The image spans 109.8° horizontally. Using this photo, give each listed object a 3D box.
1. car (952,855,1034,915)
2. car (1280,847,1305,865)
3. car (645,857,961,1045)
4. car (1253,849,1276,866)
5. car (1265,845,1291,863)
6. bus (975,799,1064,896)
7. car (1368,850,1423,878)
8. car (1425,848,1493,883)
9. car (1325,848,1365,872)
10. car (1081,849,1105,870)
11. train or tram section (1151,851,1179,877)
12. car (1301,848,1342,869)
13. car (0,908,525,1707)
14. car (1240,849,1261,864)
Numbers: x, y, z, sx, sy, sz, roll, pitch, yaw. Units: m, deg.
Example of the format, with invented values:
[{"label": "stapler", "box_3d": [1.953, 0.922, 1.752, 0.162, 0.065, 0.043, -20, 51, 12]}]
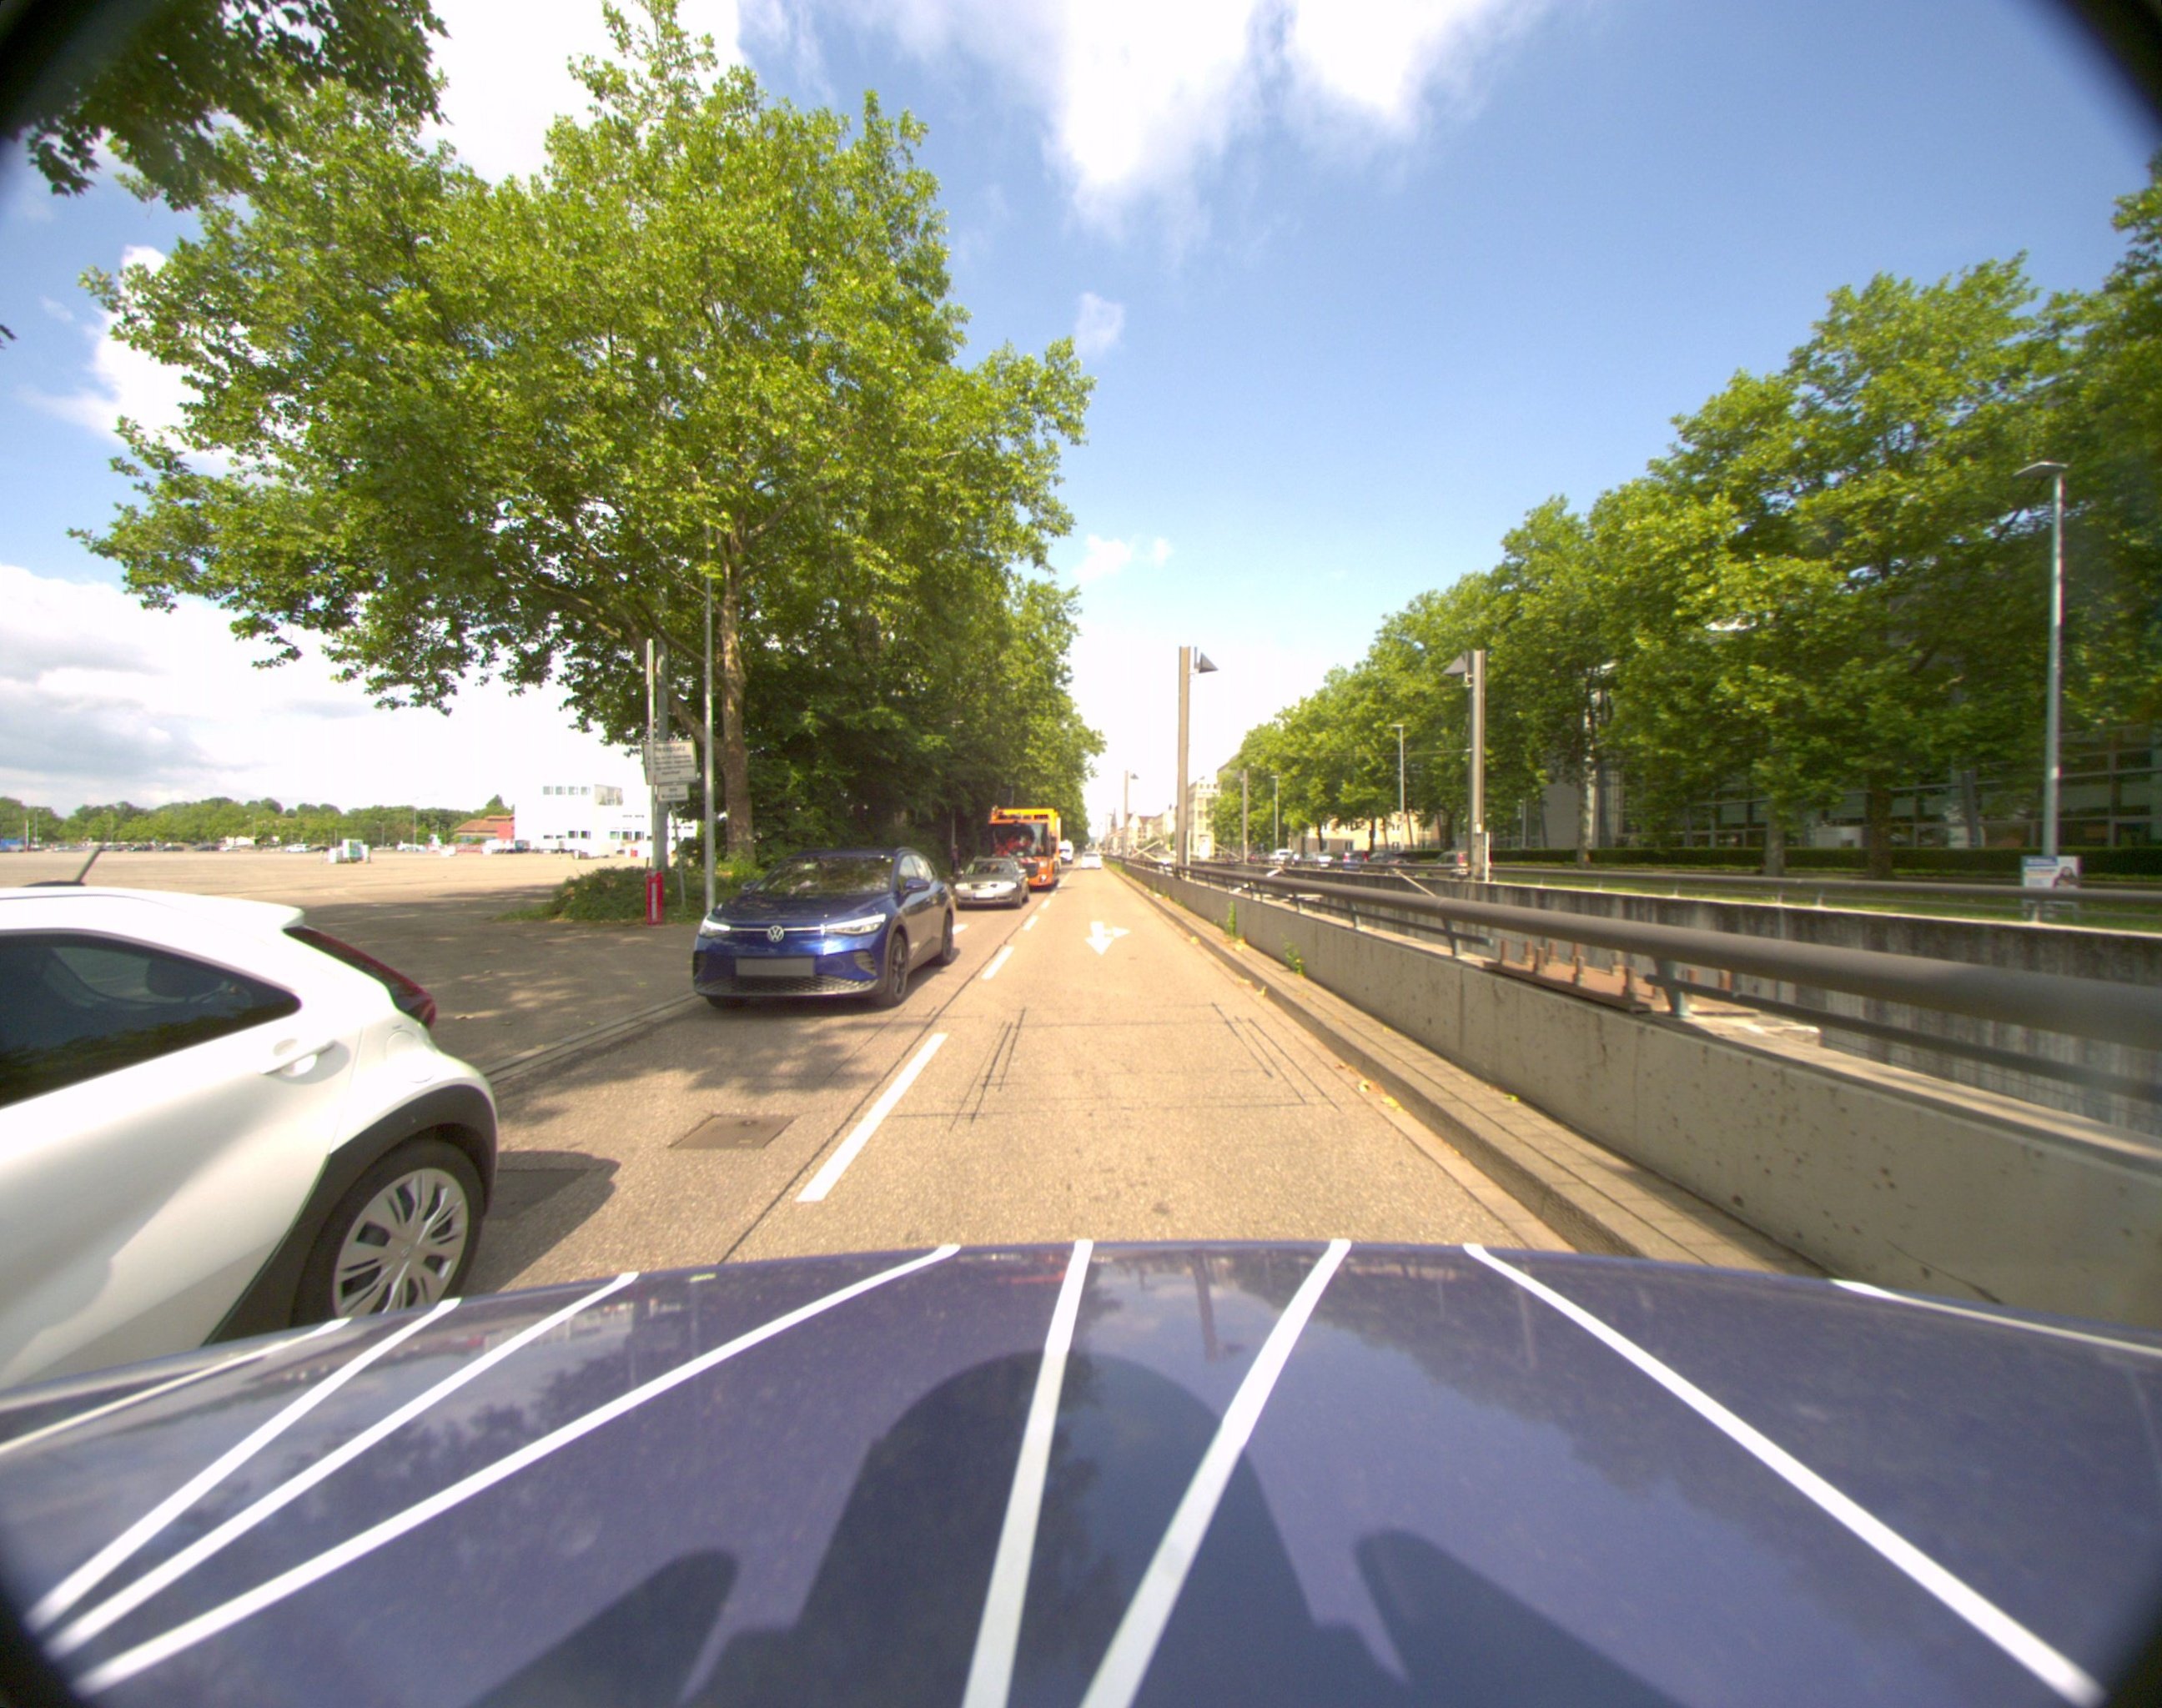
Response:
[{"label": "car", "box_3d": [-2.416, 0.802, 21.753, 1.771, 1.455, 4.000, -2, 1, 1]}, {"label": "car", "box_3d": [15.762, 0.128, 56.780, 1.167, 1.368, 2.745, 0, 1, 1]}, {"label": "car", "box_3d": [-2.752, 0.844, 8.833, 1.891, 1.566, 4.580, -2, 0, 1]}, {"label": "car", "box_3d": [16.029, 0.284, 66.403, 1.309, 1.368, 3.185, 0, 1, 1]}, {"label": "car", "box_3d": [15.816, -0.025, 61.222, 1.309, 1.368, 3.185, 0, 1, 1]}, {"label": "bus", "box_3d": [-2.352, -0.299, 32.912, 2.744, 3.446, 10.393, -2, 1, 1]}, {"label": "car", "box_3d": [16.318, 0.490, 39.566, 1.582, 1.426, 3.156, 0, 1, 1]}, {"label": "car", "box_3d": [16.254, 0.455, 32.810, 1.420, 1.447, 3.156, 0, 1, 1]}, {"label": "car", "box_3d": [16.089, 0.352, 46.409, 1.515, 1.368, 2.887, 0, 1, 1]}, {"label": "car", "box_3d": [0.998, 0.429, 64.909, 1.737, 1.478, 3.600, -5, 2, -1]}, {"label": "train or tram section", "box_3d": [8.593, 0.982, 78.131, 2.216, 2.444, 6.248, -2, 1, 1]}, {"label": "car", "box_3d": [16.116, 0.270, 51.175, 1.579, 1.368, 3.896, 0, 1, 1]}, {"label": "car", "box_3d": [-2.898, 0.984, 0.882, 1.749, 1.471, 3.797, -2, 1, -2]}, {"label": "car", "box_3d": [16.042, 0.225, 72.000, 1.309, 1.368, 3.185, 0, 1, 1]}]
